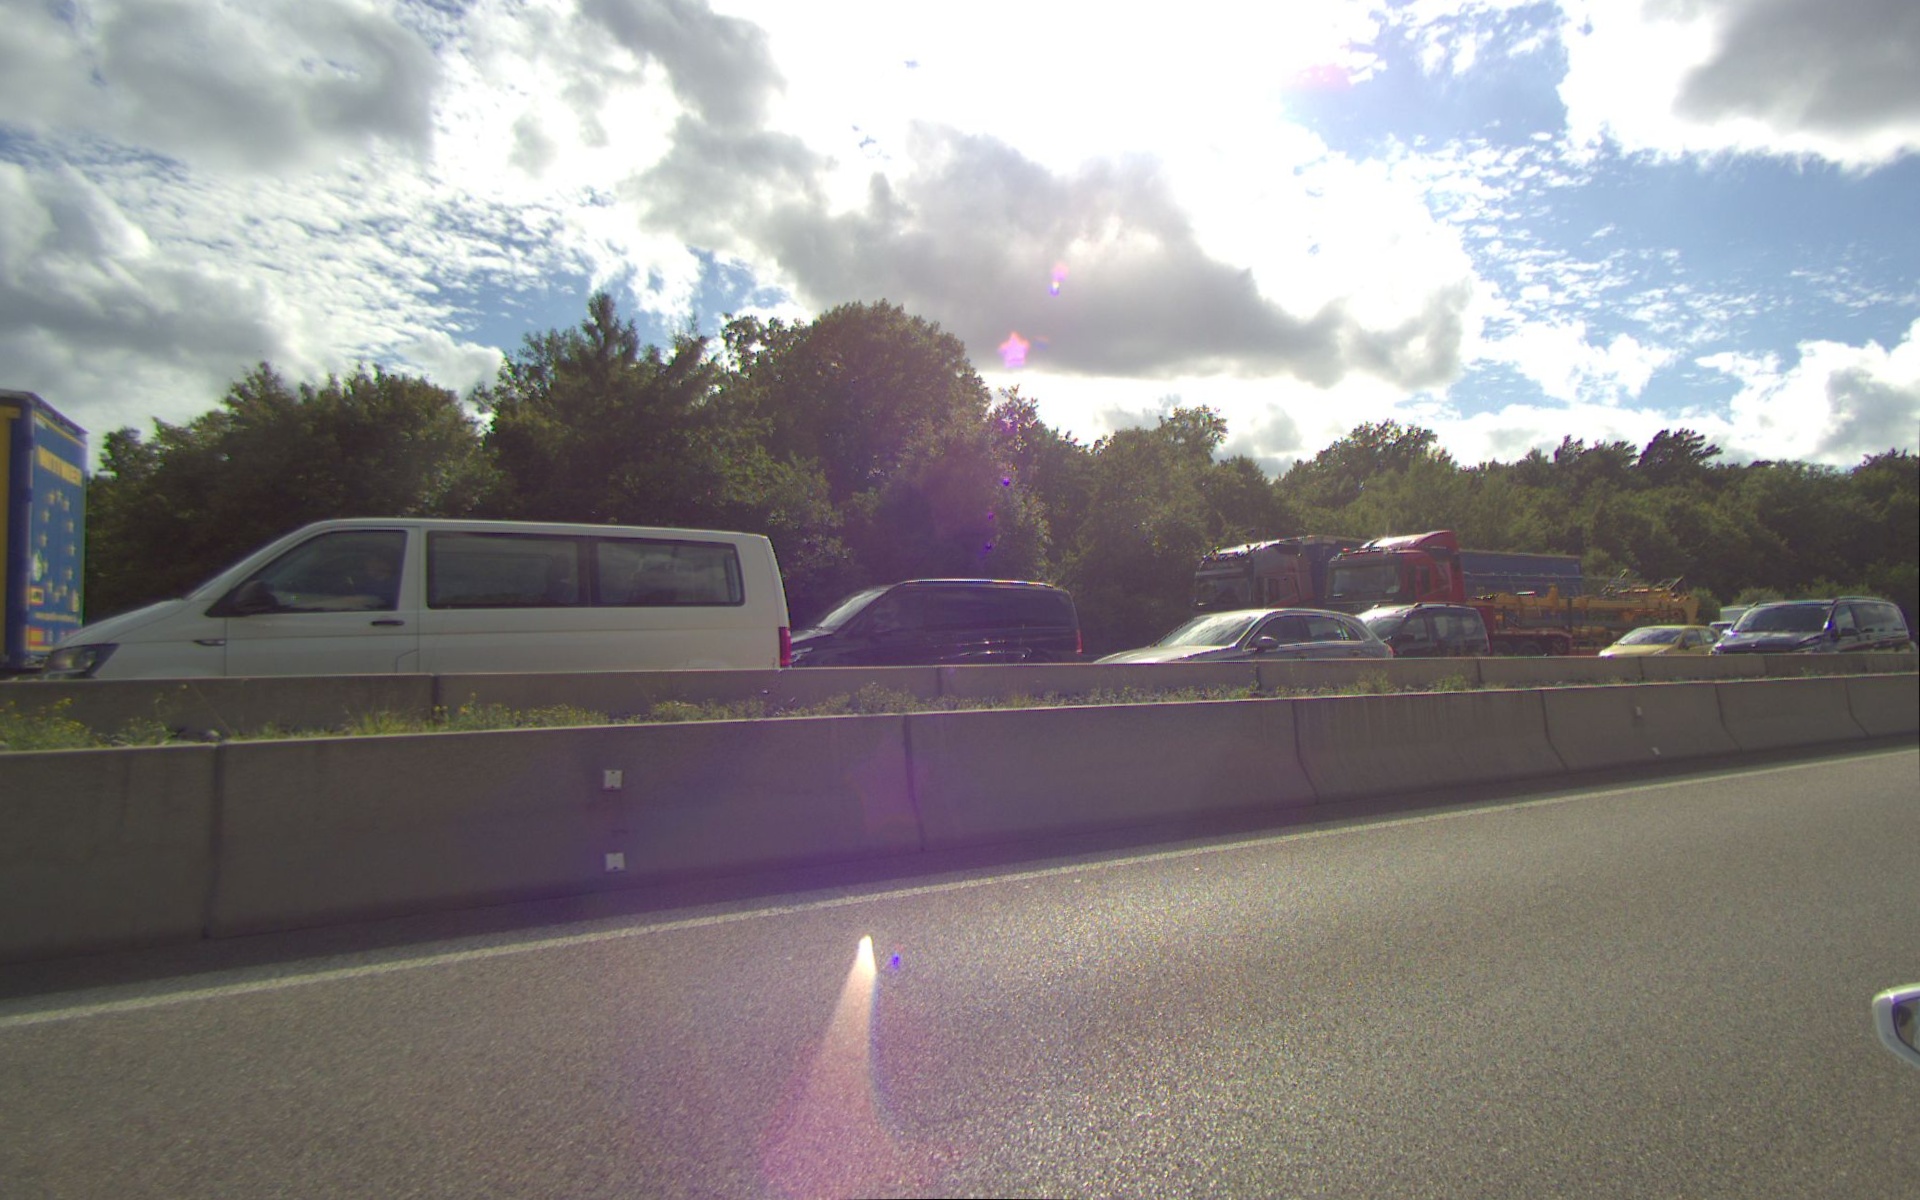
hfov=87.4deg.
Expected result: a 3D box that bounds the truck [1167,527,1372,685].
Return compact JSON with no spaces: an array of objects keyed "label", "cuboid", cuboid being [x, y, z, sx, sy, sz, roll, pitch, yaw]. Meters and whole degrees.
[{"label":"truck","cuboid":[9.022,0.206,29.193,5.390,4.205,2.797,1,0,-31]}]

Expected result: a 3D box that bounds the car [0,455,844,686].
[{"label":"car","cuboid":[-3.819,-0.067,8.172,5.426,1.372,1.840,3,-1,-31]}]

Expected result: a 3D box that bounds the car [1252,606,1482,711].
[{"label":"car","cuboid":[7.953,1.064,19.488,4.561,1.790,1.736,1,1,-31]}]

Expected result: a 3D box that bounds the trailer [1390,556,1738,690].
[{"label":"trailer","cuboid":[18.551,0.670,30.143,14.057,3.380,2.714,1,0,-31]}]

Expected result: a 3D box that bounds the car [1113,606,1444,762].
[{"label":"car","cuboid":[3.996,0.938,12.454,3.954,1.625,1.714,1,0,-31]}]

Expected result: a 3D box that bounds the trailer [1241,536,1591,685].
[{"label":"trailer","cuboid":[15.280,0.377,32.804,13.874,4.175,2.796,1,1,-30]}]

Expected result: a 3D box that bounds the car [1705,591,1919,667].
[{"label":"car","cuboid":[17.806,0.587,20.625,6.161,1.367,1.805,1,0,-31]}]

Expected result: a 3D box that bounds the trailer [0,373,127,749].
[{"label":"trailer","cuboid":[-16.947,-0.724,9.495,13.505,4.290,2.757,3,-1,-31]}]

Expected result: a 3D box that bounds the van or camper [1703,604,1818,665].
[{"label":"van or camper","cuboid":[43.092,1.836,54.012,7.114,3.118,2.559,2,-1,-31]}]

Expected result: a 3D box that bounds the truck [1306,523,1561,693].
[{"label":"truck","cuboid":[12.577,0.247,26.514,6.775,3.991,2.761,1,0,-31]}]

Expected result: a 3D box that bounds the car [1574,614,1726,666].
[{"label":"car","cuboid":[17.008,0.965,24.712,3.954,1.142,1.577,1,0,-31]}]

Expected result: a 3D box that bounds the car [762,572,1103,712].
[{"label":"car","cuboid":[-0.325,0.562,14.779,4.786,1.790,1.736,1,1,-31]}]
